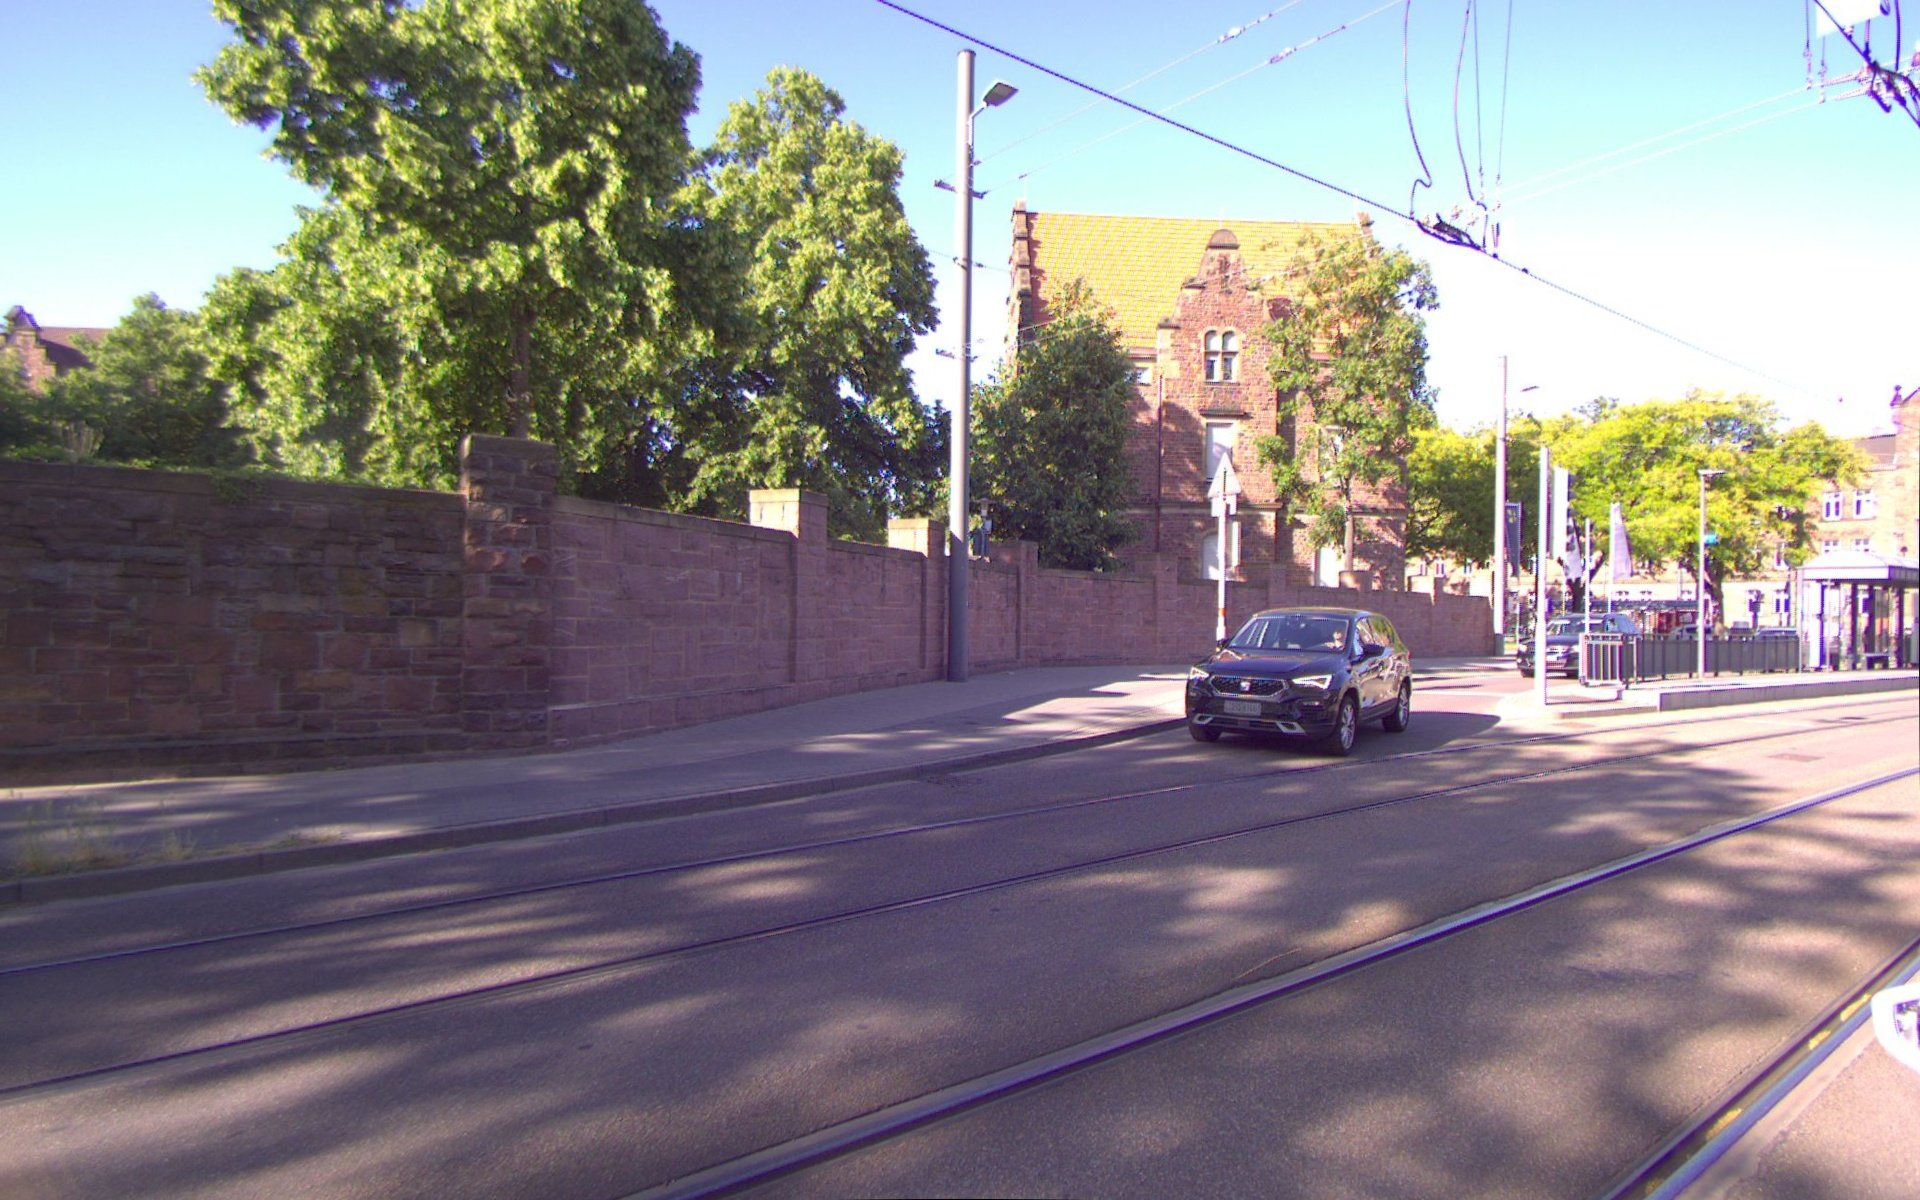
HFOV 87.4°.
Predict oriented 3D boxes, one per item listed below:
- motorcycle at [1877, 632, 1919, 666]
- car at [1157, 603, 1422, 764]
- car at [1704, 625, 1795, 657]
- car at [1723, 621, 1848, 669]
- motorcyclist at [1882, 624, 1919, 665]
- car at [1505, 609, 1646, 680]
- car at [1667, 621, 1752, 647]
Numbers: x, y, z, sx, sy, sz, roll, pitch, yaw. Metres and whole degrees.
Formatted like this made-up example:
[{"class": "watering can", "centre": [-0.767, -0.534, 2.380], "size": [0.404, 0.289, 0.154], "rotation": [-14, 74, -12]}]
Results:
[{"class": "motorcycle", "centre": [36.857, 1.897, 39.176], "size": [2.549, 1.260, 1.122], "rotation": [2, 0, -36]}, {"class": "car", "centre": [4.209, 0.877, 12.419], "size": [1.897, 1.638, 4.102], "rotation": [0, -1, 37]}, {"class": "car", "centre": [46.397, 2.388, 59.102], "size": [1.730, 1.682, 3.840], "rotation": [2, 0, -30]}, {"class": "car", "centre": [26.834, 1.441, 32.617], "size": [4.575, 1.434, 1.872], "rotation": [1, -1, -33]}, {"class": "motorcyclist", "centre": [36.881, 1.717, 39.197], "size": [1.045, 1.545, 1.117], "rotation": [2, 0, -36]}, {"class": "car", "centre": [15.615, 1.098, 25.416], "size": [4.083, 1.659, 1.782], "rotation": [1, -1, -39]}, {"class": "car", "centre": [48.772, 2.212, 65.466], "size": [1.855, 1.542, 4.045], "rotation": [2, 0, -30]}]
